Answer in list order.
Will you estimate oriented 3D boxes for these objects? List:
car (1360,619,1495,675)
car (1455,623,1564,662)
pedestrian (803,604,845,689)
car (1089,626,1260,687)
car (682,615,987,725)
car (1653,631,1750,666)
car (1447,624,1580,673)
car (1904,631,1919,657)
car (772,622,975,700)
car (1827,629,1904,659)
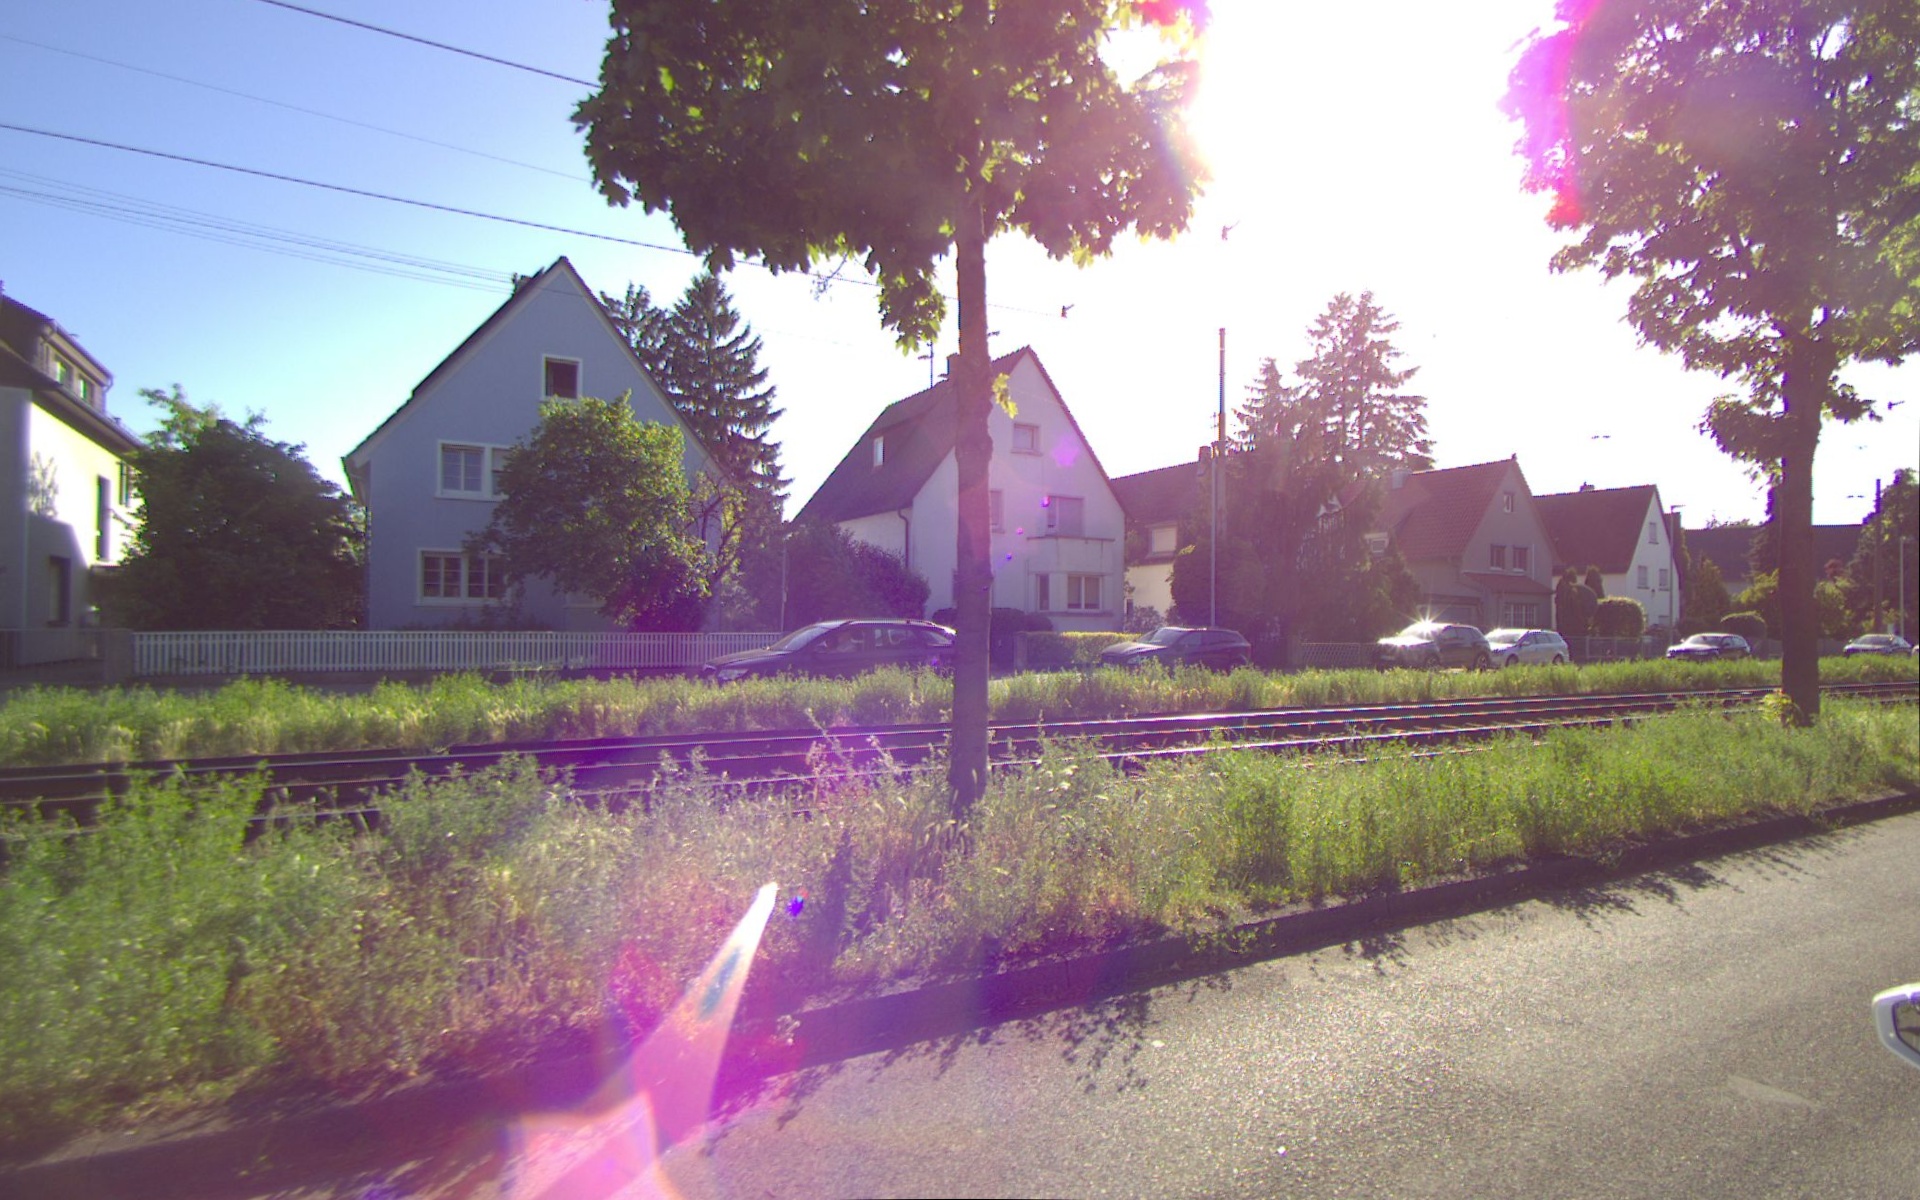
[{"bbox_3d":[15.196,1.509,32.622,4.503,1.672,1.739,2,0,-31],"label":"car"},{"bbox_3d":[24.596,1.866,45.074,1.866,1.472,3.900,0,1,-30],"label":"car"},{"bbox_3d":[-3.334,1.136,24.622,0.763,2.040,0.677,1,0,-30],"label":"pedestrian"},{"bbox_3d":[5.801,1.484,27.041,4.549,1.485,1.720,2,0,-31],"label":"car"},{"bbox_3d":[-2.009,1.099,16.646,4.755,1.573,1.652,2,0,-31],"label":"car"},{"bbox_3d":[31.520,2.044,42.663,4.179,1.388,1.850,2,0,-31],"label":"car"},{"bbox_3d":[19.684,1.701,35.663,4.724,1.566,1.984,2,0,-30],"label":"car"},{"bbox_3d":[55.597,2.526,56.997,4.410,1.450,1.850,2,0,-31],"label":"car"},{"bbox_3d":[-1.923,1.331,22.658,4.179,1.562,1.850,2,0,-31],"label":"car"},{"bbox_3d":[47.067,2.280,52.217,4.110,1.432,1.850,2,0,-31],"label":"car"}]
